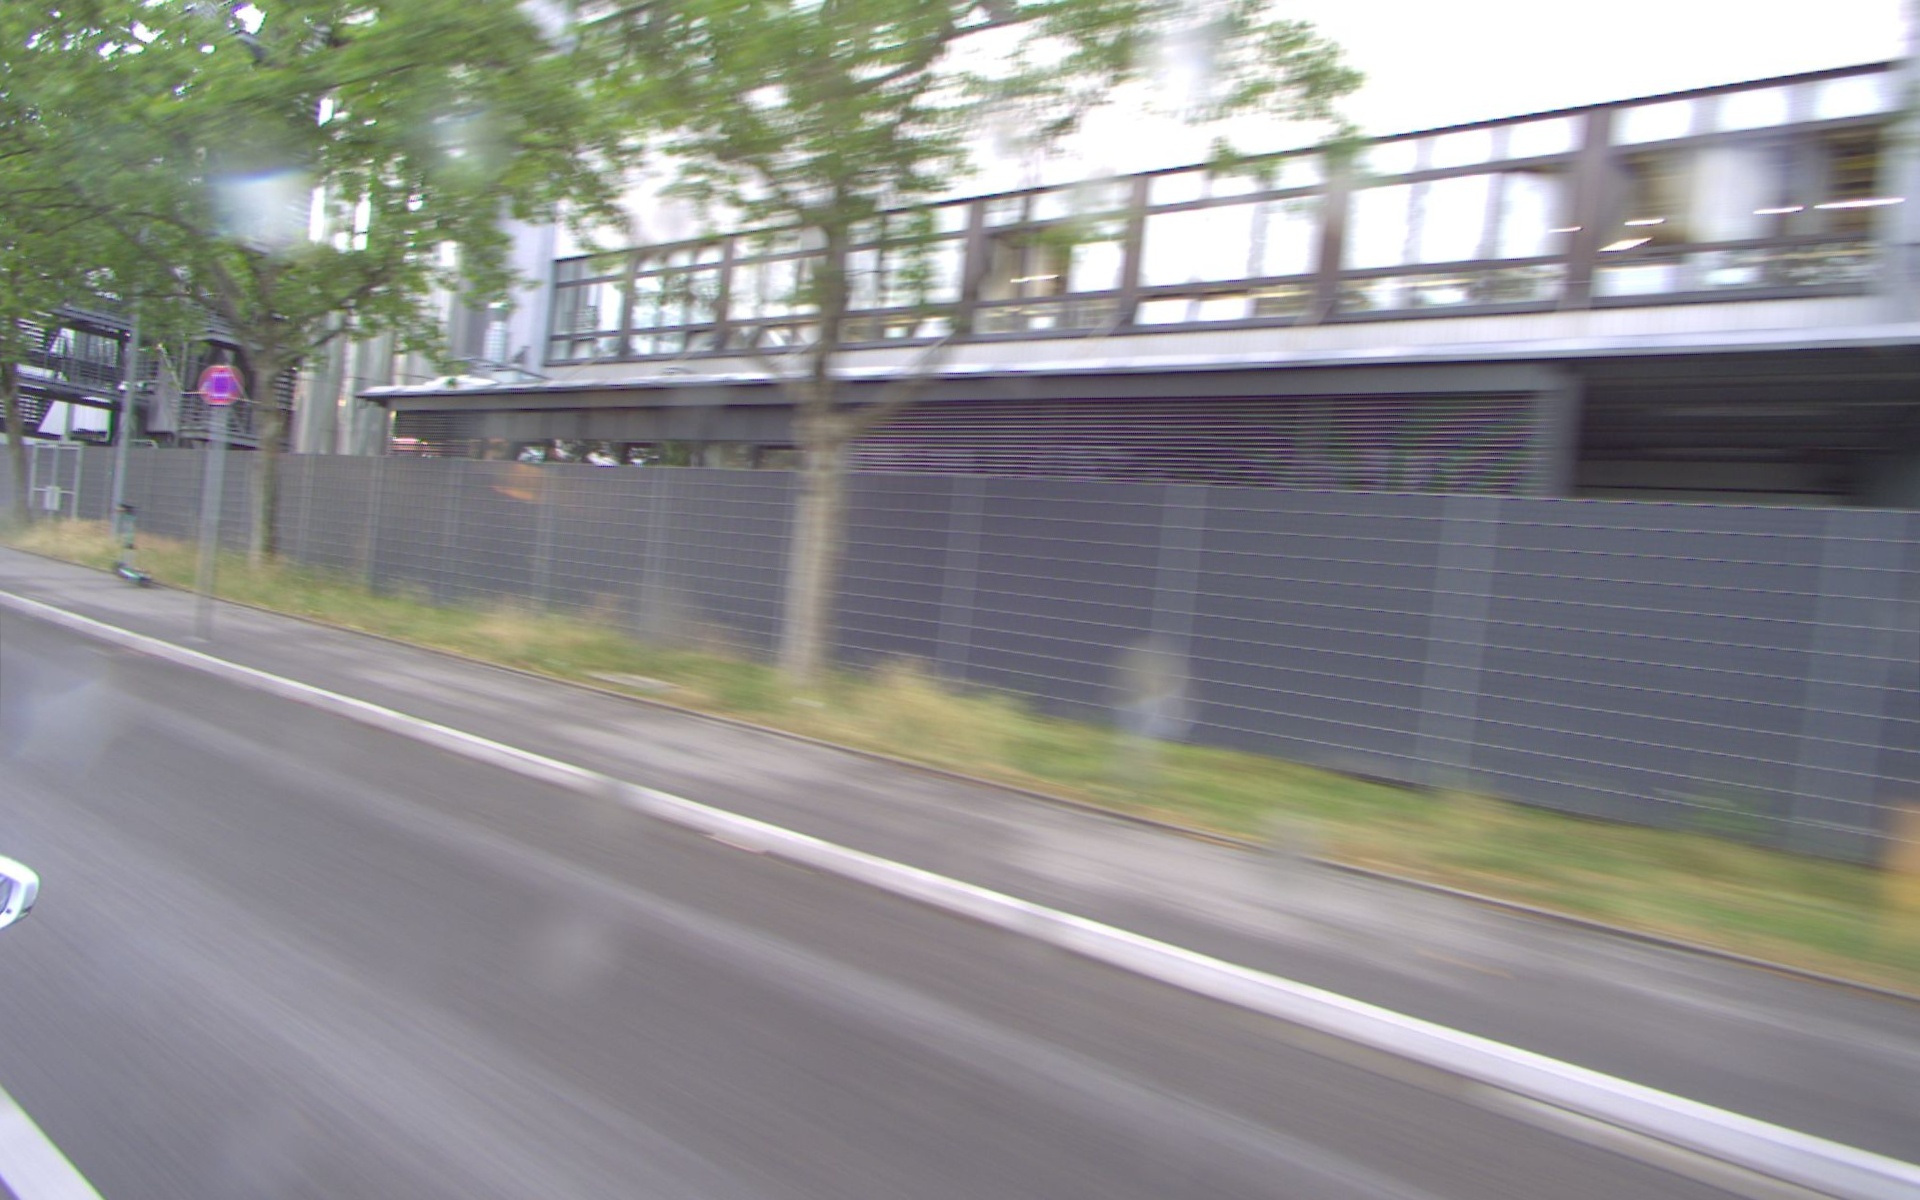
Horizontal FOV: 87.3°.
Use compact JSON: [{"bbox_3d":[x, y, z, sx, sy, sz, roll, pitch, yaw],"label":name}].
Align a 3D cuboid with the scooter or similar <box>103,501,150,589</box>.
[{"bbox_3d":[-13.045,-0.867,15.737,1.093,1.285,0.328,7,2,41],"label":"scooter or similar"}]
